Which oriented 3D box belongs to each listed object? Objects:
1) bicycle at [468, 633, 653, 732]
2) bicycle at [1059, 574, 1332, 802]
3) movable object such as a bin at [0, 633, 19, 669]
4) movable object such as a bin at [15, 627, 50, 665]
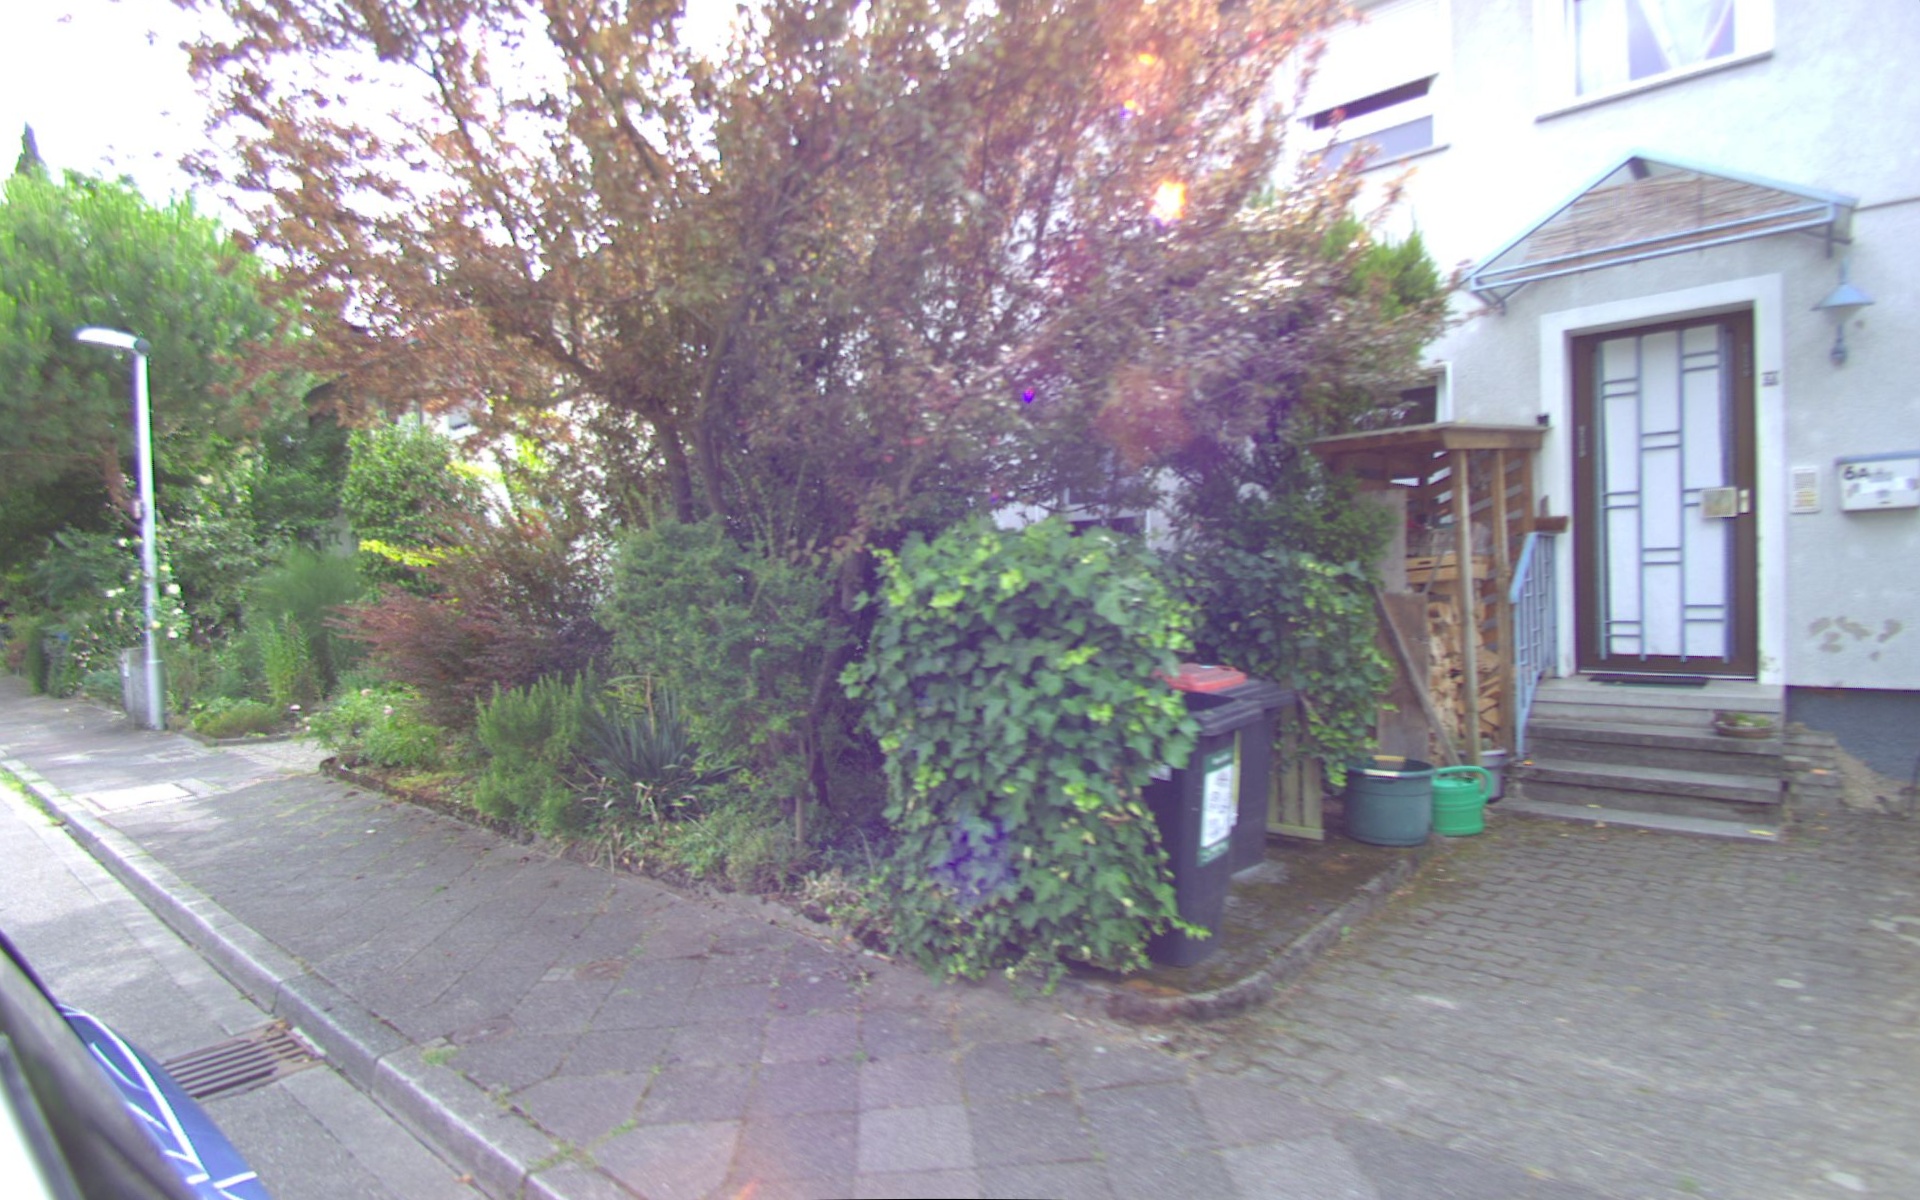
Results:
[{"bbox_3d":[-4.102,0.834,10.472,1.676,0.899,0.530,-2,0,-7],"label":"bicycle"},{"bbox_3d":[1.572,0.557,7.024,1.848,1.406,0.427,-1,0,43],"label":"bicycle"},{"bbox_3d":[-29.639,1.577,31.311,0.822,1.079,0.696,-2,-1,41],"label":"movable object such as a bin"},{"bbox_3d":[-29.199,1.437,31.861,0.877,1.138,0.696,-2,-1,41],"label":"movable object such as a bin"}]
